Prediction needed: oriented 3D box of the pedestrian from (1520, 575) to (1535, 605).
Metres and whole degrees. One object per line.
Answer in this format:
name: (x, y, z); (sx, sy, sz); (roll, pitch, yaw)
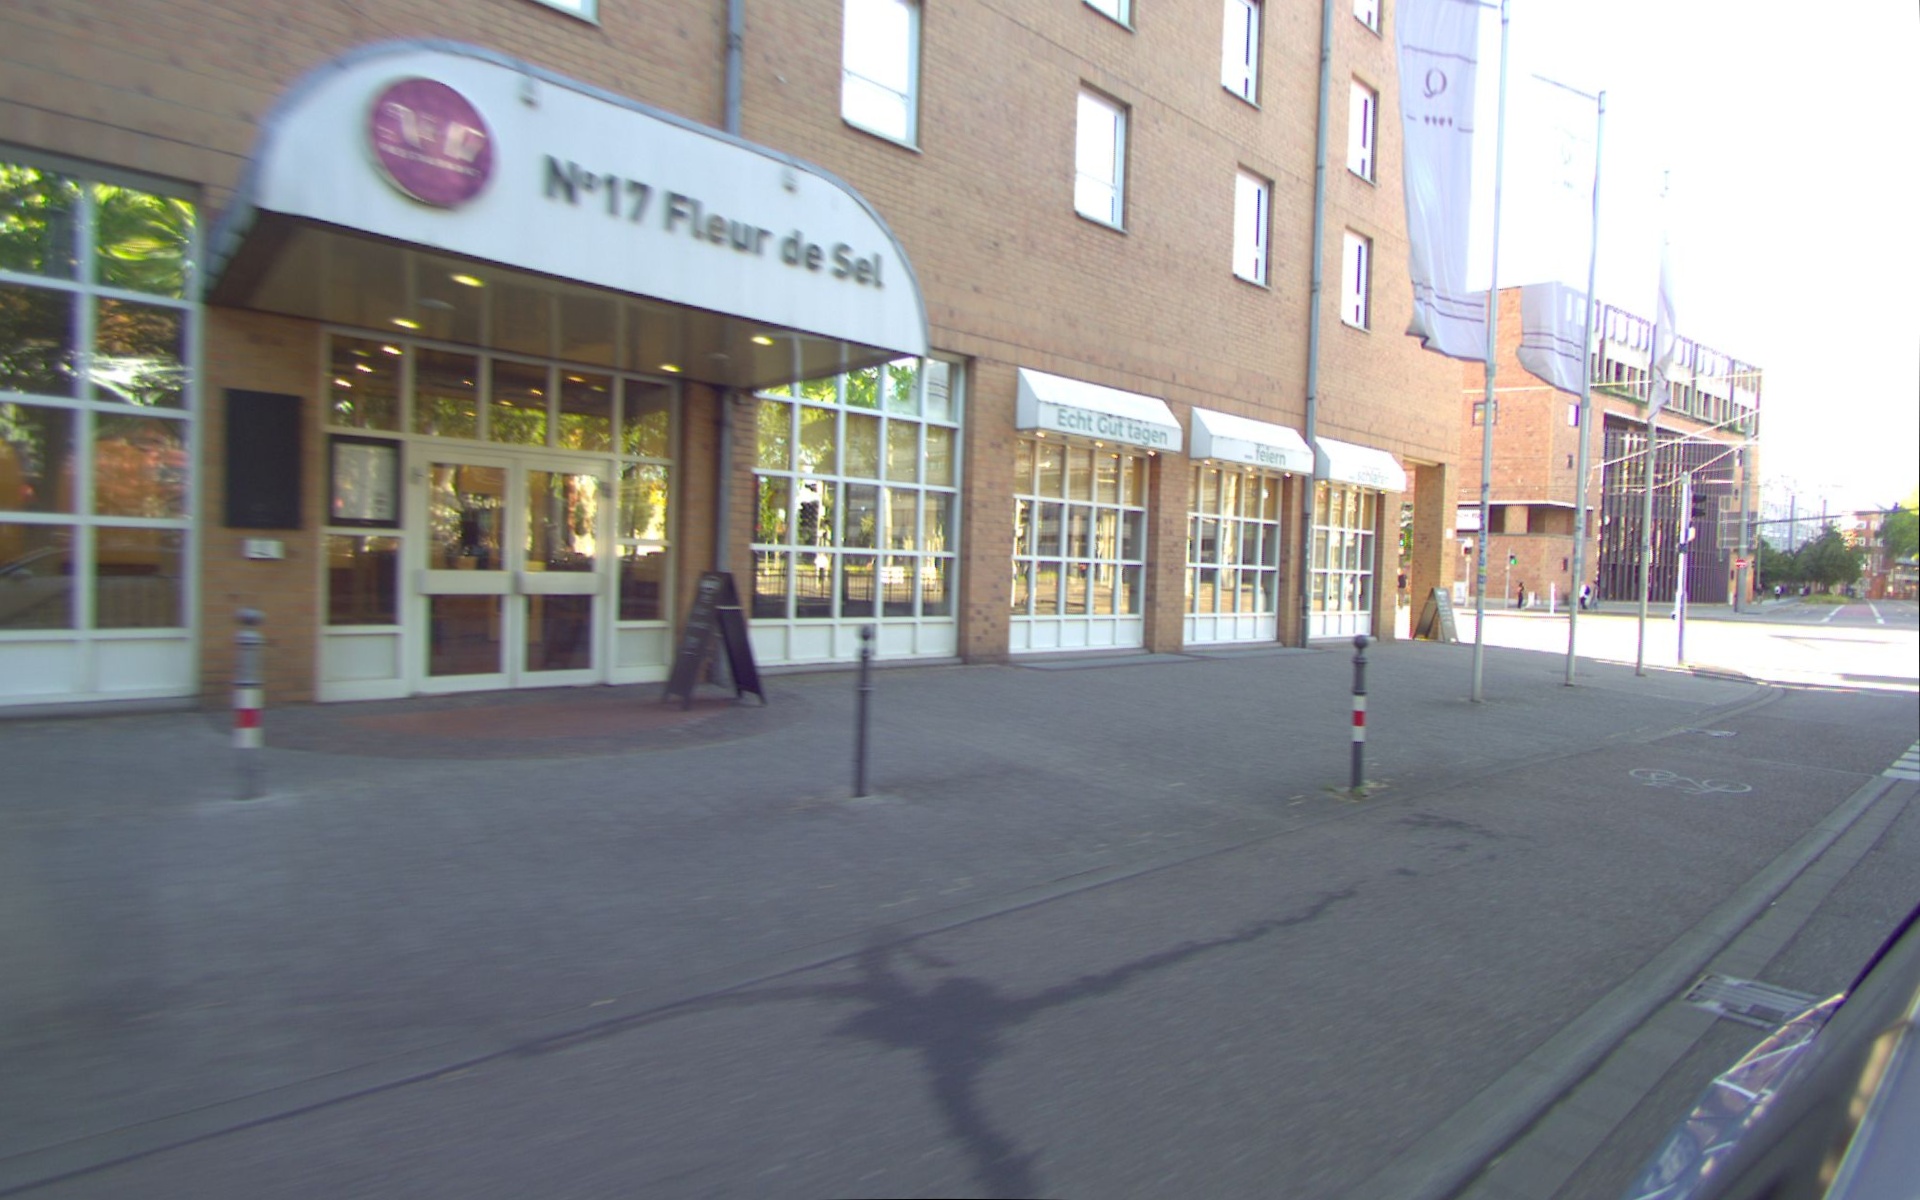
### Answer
pedestrian: (33.290, -0.589, 59.340); (0.623, 1.704, 0.522); (2, 2, 40)
